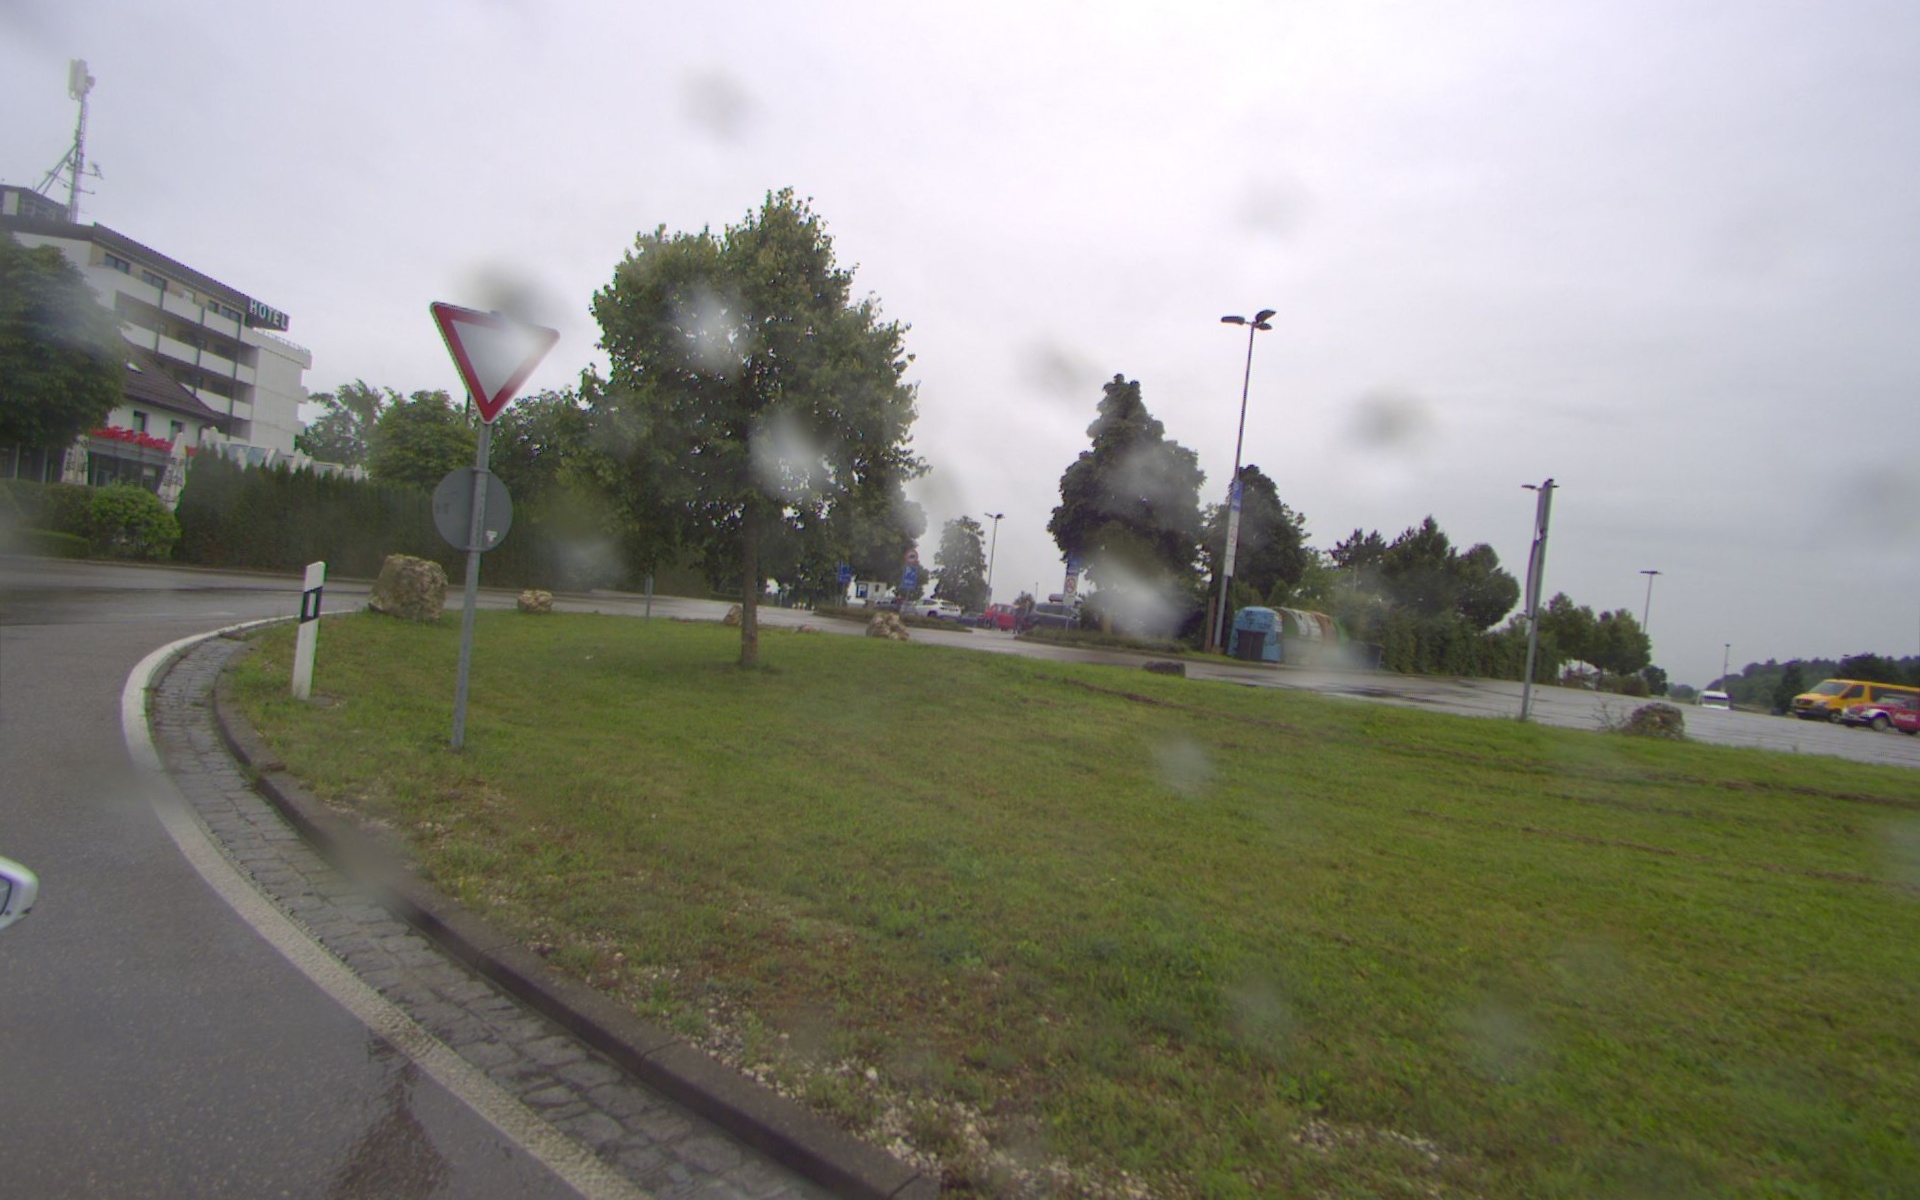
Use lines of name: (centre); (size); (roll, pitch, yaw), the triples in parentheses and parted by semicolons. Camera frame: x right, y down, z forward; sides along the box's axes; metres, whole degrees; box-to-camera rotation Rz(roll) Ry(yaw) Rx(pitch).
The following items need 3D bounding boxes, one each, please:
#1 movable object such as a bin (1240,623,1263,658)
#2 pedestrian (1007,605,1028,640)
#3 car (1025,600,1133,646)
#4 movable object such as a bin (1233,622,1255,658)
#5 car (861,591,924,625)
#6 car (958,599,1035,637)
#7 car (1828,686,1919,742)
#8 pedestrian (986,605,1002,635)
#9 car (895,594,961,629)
movable object such as a bin: (8.426, 1.164, 29.100); (0.442, 0.961, 0.405); (6, 1, -1)
pedestrian: (2.797, 1.103, 49.194); (0.703, 1.658, 0.646); (6, -1, 23)
car: (5.699, 1.089, 48.704); (4.888, 1.815, 1.988); (4, 0, 45)
movable object such as a bin: (8.084, 1.145, 28.656); (0.464, 0.961, 0.435); (7, 2, 22)
car: (-4.416, 0.508, 65.171); (3.976, 1.735, 1.711); (5, -3, 45)
car: (2.013, 0.992, 56.445); (3.972, 1.815, 1.839); (5, 0, 45)
car: (36.803, 4.554, 39.359); (3.925, 1.798, 1.829); (7, -1, 2)
pedestrian: (1.700, 1.008, 50.415); (0.633, 1.378, 0.452); (7, -1, 4)
car: (-2.161, 0.758, 66.733); (4.313, 1.883, 1.711); (5, -3, 45)
